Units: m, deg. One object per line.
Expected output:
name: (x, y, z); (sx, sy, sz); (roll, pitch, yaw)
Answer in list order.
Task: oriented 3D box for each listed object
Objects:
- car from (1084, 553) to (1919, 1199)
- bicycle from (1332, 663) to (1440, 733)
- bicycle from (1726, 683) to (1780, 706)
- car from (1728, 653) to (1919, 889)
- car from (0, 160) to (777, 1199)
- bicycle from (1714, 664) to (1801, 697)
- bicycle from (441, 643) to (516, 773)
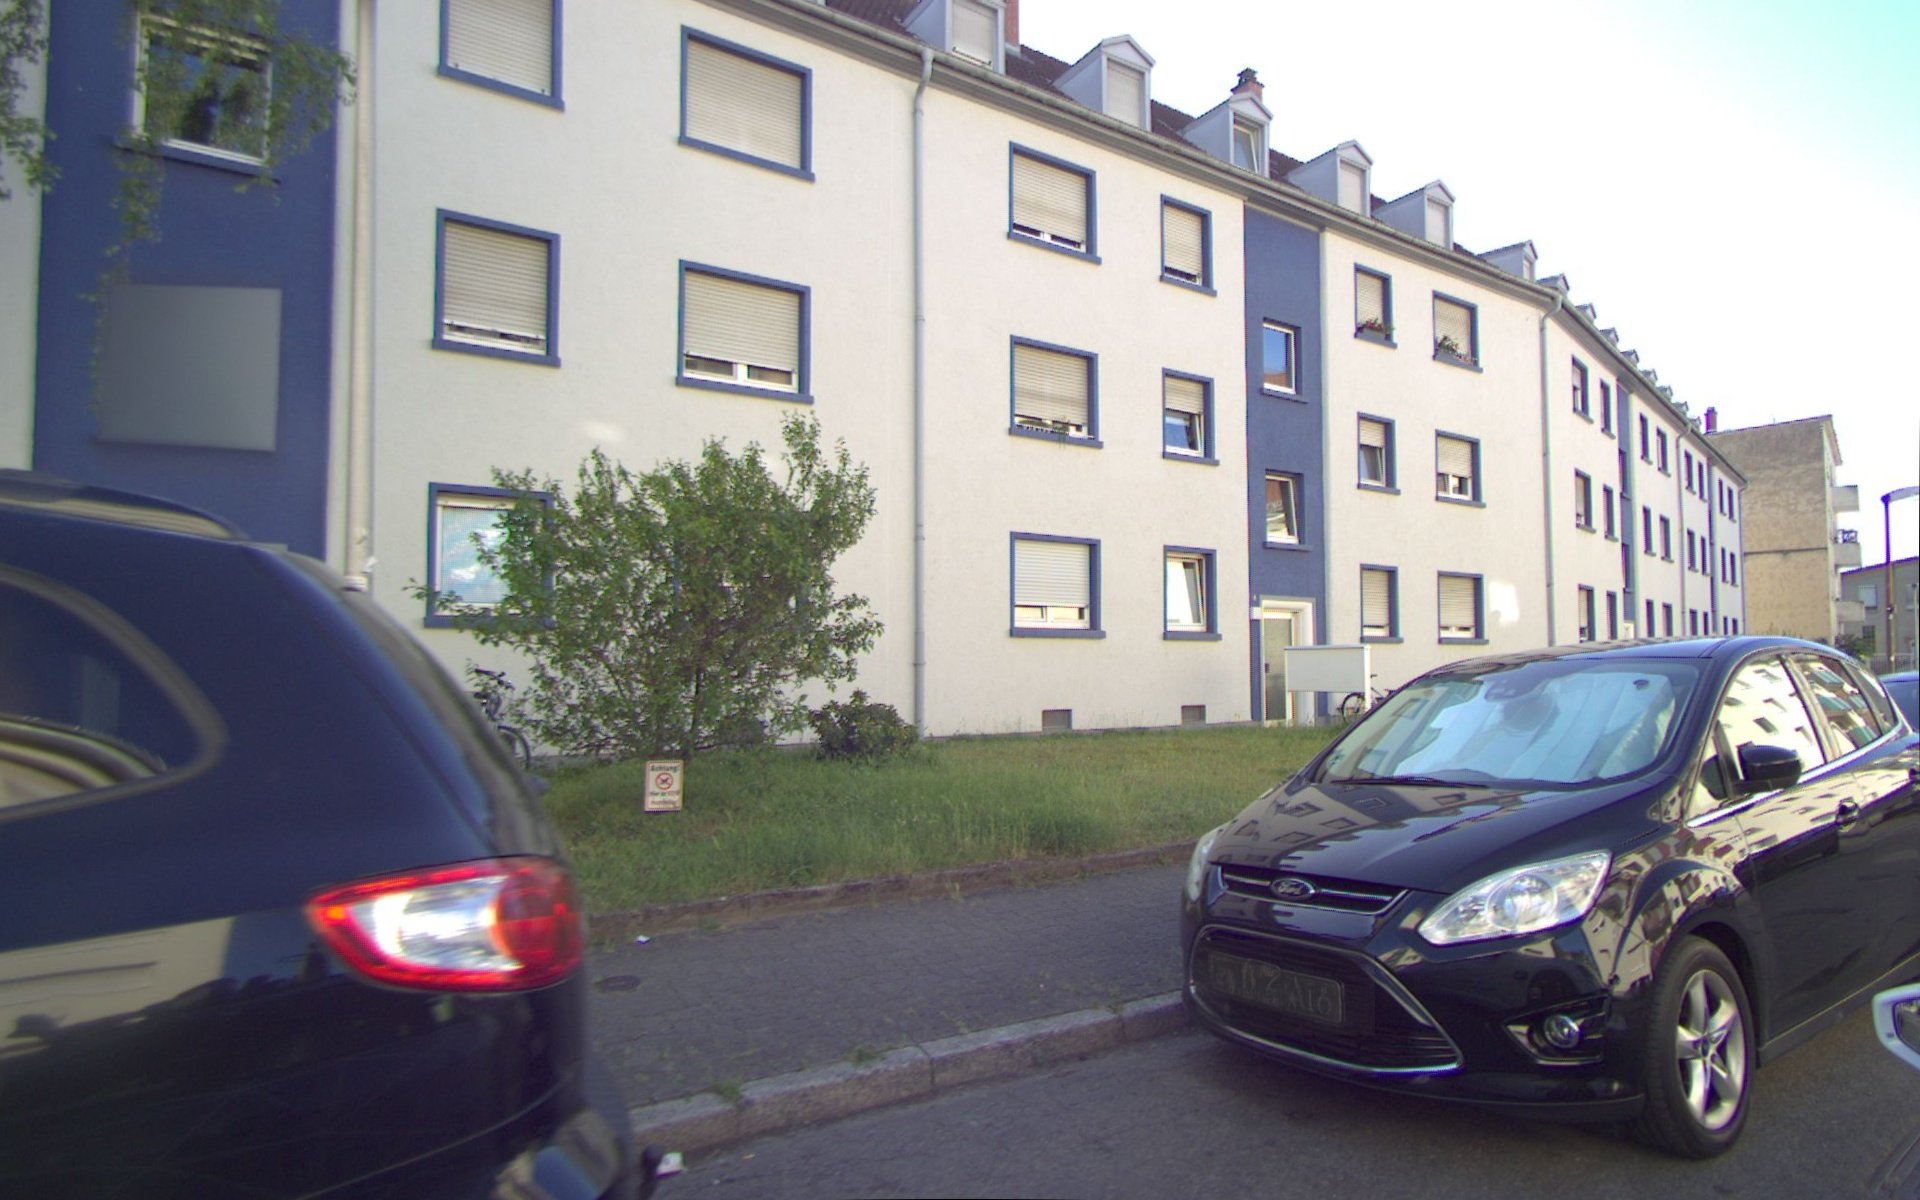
car: (2.676, 0.833, 4.278); (4.112, 1.580, 1.686); (2, -7, -33)
bicycle: (7.512, 1.701, 17.785); (0.561, 1.092, 1.813); (2, -2, -27)
bicycle: (32.619, 3.895, 41.317); (0.544, 0.948, 1.631); (5, -7, -44)
car: (7.508, 1.150, 7.548); (3.983, 1.463, 1.682); (3, -6, -37)
car: (-2.471, 0.437, 0.896); (4.288, 1.735, 1.549); (3, -8, -31)
bicycle: (31.062, 3.124, 39.186); (2.635, 1.145, 0.770); (1, -2, 38)
bicycle: (-4.695, 1.030, 9.761); (0.411, 1.166, 1.400); (3, -5, -34)
